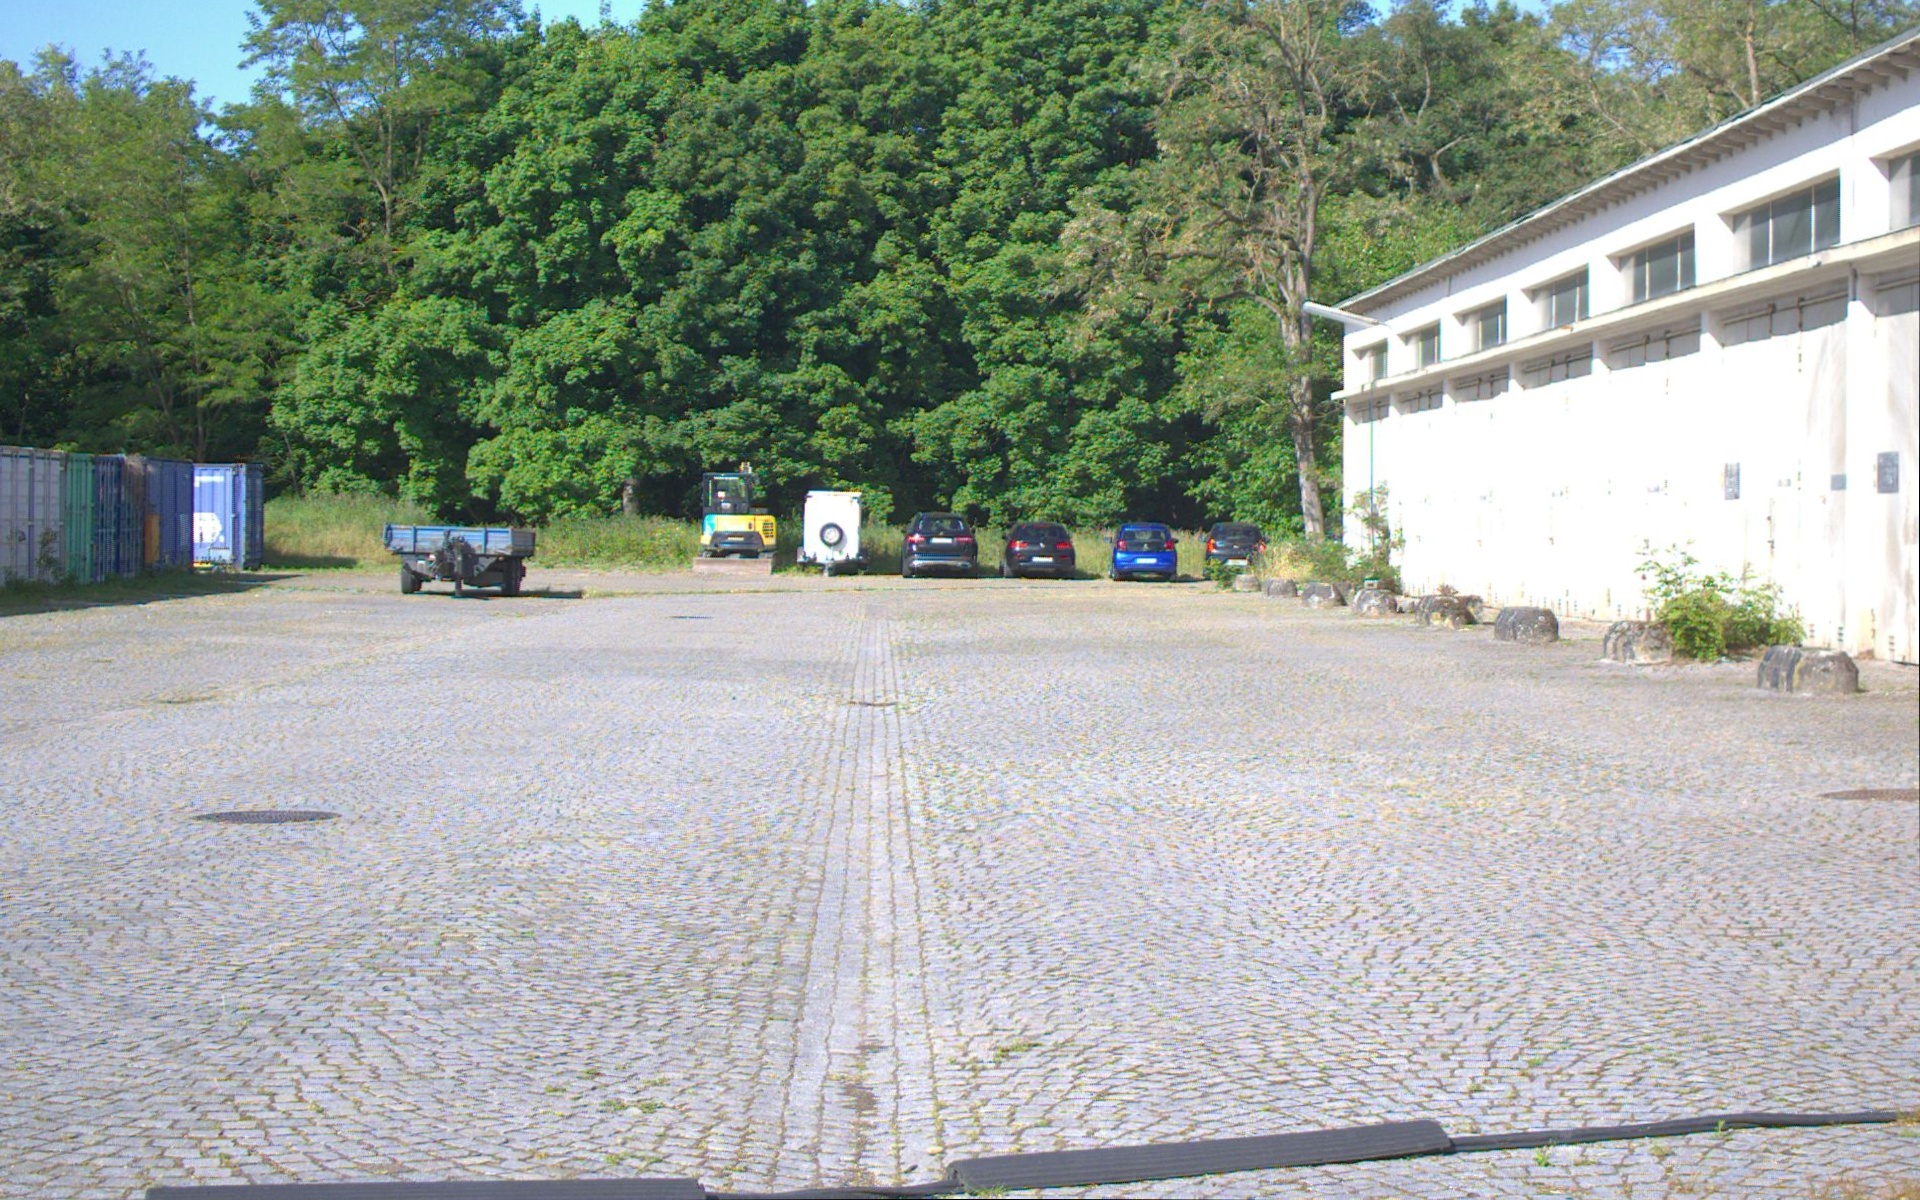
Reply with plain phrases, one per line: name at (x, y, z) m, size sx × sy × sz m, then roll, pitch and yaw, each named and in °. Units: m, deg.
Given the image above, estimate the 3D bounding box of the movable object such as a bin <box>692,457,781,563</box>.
movable object such as a bin at (-5.738, -2.318, 88.279) m, size 2.231 × 2.648 × 4.001 m, roll 0°, pitch 1°, yaw -4°

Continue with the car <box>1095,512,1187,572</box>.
car at (4.549, -1.488, 86.839) m, size 1.993 × 1.461 × 4.001 m, roll 0°, pitch 1°, yaw -2°

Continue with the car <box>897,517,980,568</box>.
car at (-0.563, -1.462, 86.392) m, size 1.993 × 1.254 × 4.001 m, roll 0°, pitch 1°, yaw -2°

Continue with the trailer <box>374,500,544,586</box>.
trailer at (-9.969, -1.164, 68.913) m, size 2.791 × 1.640 × 5.621 m, roll 0°, pitch 1°, yaw -2°

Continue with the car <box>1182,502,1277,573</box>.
car at (6.882, -1.616, 88.120) m, size 1.993 × 1.766 × 4.001 m, roll 0°, pitch 1°, yaw -2°

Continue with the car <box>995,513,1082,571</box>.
car at (1.956, -1.473, 86.807) m, size 1.993 × 1.419 × 4.001 m, roll 0°, pitch 1°, yaw -2°

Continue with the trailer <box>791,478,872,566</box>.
trailer at (-3.258, -1.991, 87.570) m, size 1.993 × 2.155 × 4.432 m, roll 0°, pitch 1°, yaw -2°
